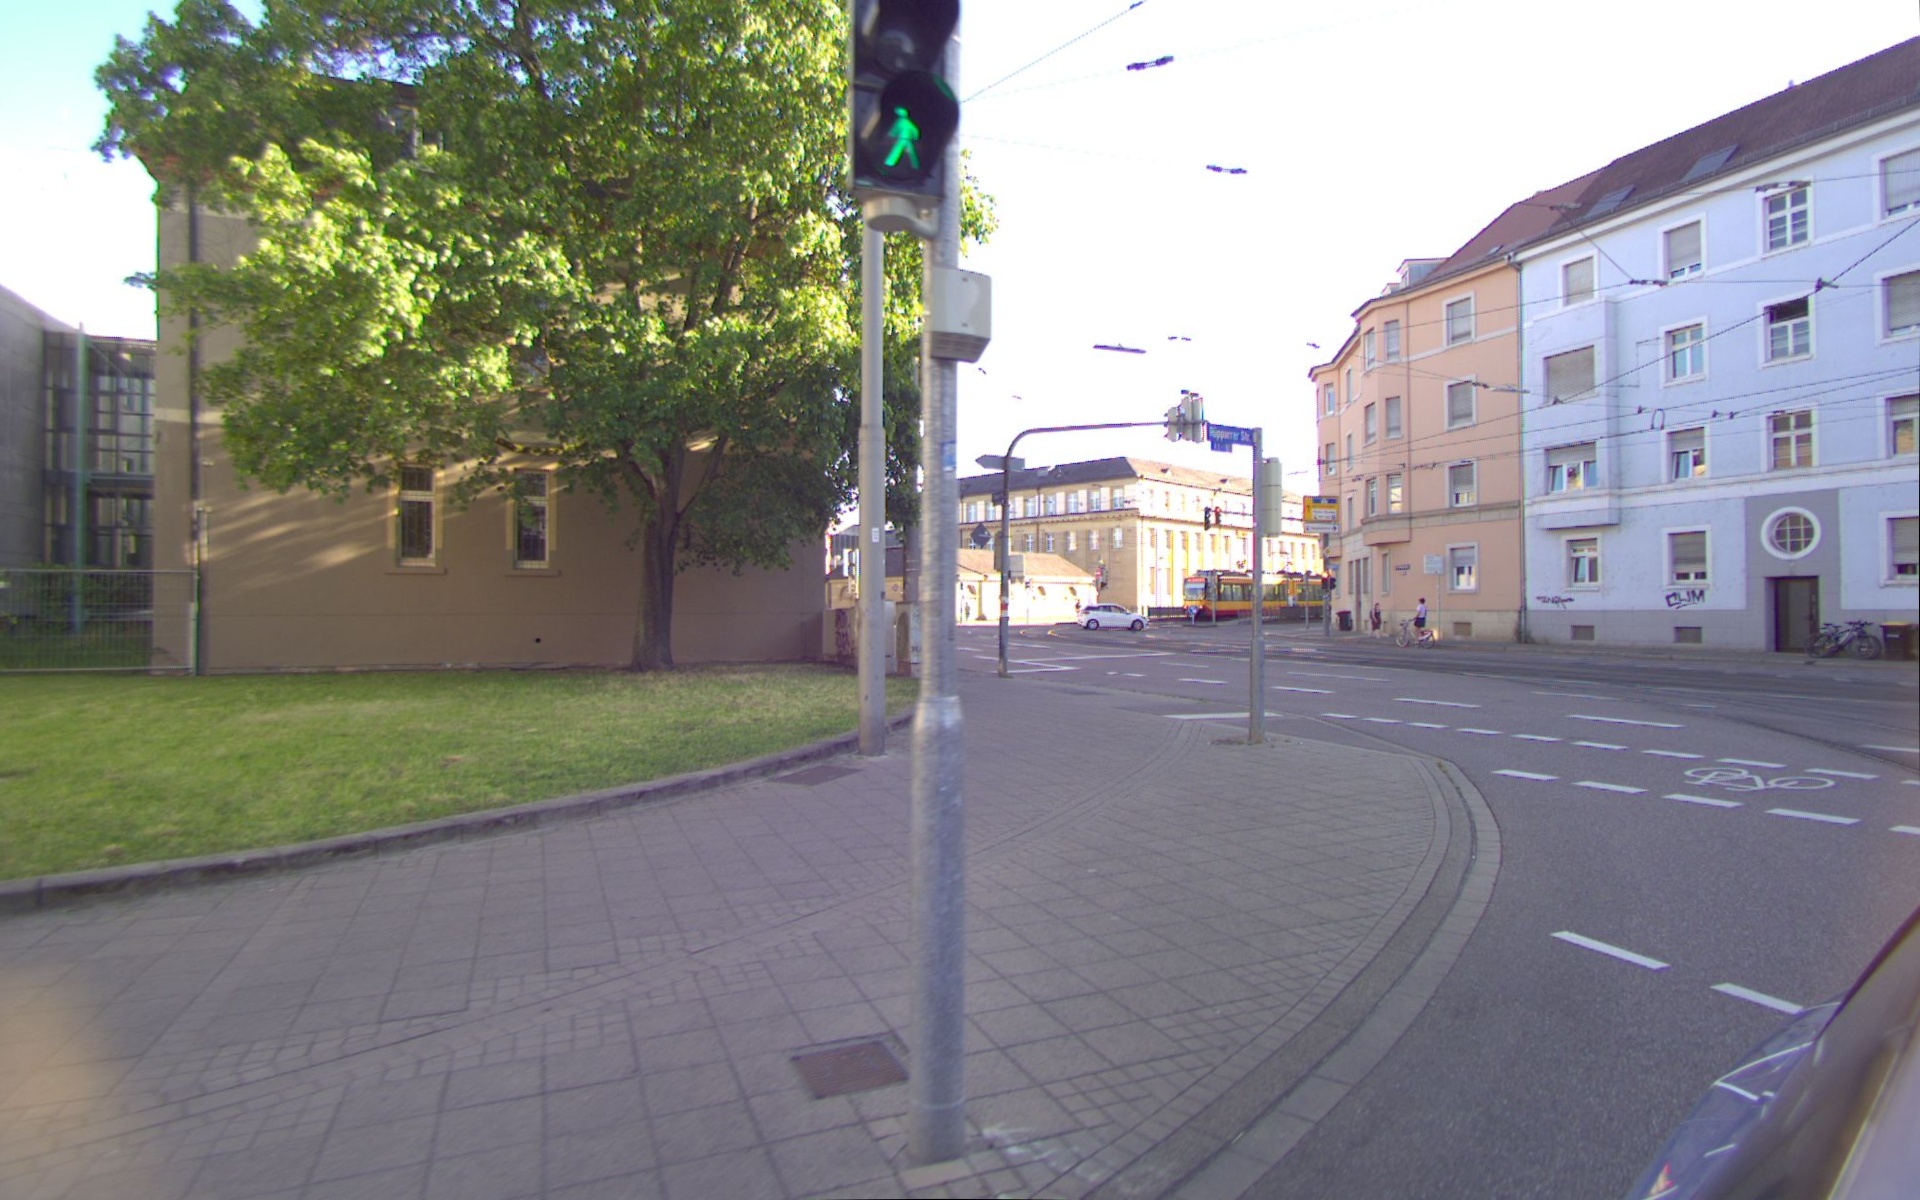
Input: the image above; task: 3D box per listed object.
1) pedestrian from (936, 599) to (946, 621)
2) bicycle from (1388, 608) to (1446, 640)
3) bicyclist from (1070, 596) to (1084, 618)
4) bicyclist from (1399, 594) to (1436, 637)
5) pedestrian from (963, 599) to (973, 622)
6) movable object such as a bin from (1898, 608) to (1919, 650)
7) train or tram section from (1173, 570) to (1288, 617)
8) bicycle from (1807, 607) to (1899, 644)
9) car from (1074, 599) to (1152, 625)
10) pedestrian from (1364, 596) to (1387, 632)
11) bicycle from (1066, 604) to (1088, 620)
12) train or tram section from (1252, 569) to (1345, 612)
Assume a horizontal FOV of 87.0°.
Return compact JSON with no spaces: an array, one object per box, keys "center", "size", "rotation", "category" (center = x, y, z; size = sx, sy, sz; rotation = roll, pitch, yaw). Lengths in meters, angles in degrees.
[{"center":[-1.446,0.731,76.116],"size":[0.617,1.661,0.511],"rotation":[-1,-1,19],"category":"pedestrian"},{"center":[18.201,0.939,40.362],"size":[0.733,1.206,2.156],"rotation":[0,0,-23],"category":"bicycle"},{"center":[8.938,0.546,77.349],"size":[0.674,1.660,0.926],"rotation":[-1,0,40],"category":"bicyclist"},{"center":[18.219,0.615,40.345],"size":[0.733,1.664,1.128],"rotation":[0,-1,-23],"category":"bicyclist"},{"center":[0.565,0.781,74.628],"size":[0.617,1.661,0.486],"rotation":[-1,-1,19],"category":"pedestrian"},{"center":[26.180,0.792,27.593],"size":[0.690,1.120,0.649],"rotation":[-1,0,-24],"category":"movable object such as a bin"},{"center":[20.974,-0.499,77.815],"size":[3.158,3.363,11.627],"rotation":[-1,0,45],"category":"train or tram section"},{"center":[25.587,0.714,29.037],"size":[0.595,0.992,1.880],"rotation":[-1,0,-24],"category":"bicycle"},{"center":[8.470,0.649,56.202],"size":[4.026,1.411,1.793],"rotation":[-1,0,-1],"category":"car"},{"center":[18.470,0.610,45.039],"size":[0.664,1.583,0.721],"rotation":[0,-1,-4],"category":"pedestrian"},{"center":[8.925,0.920,77.327],"size":[0.682,1.150,2.045],"rotation":[-1,1,39],"category":"bicycle"},{"center":[28.784,-0.837,85.668],"size":[3.156,3.398,10.509],"rotation":[-1,1,45],"category":"train or tram section"}]
